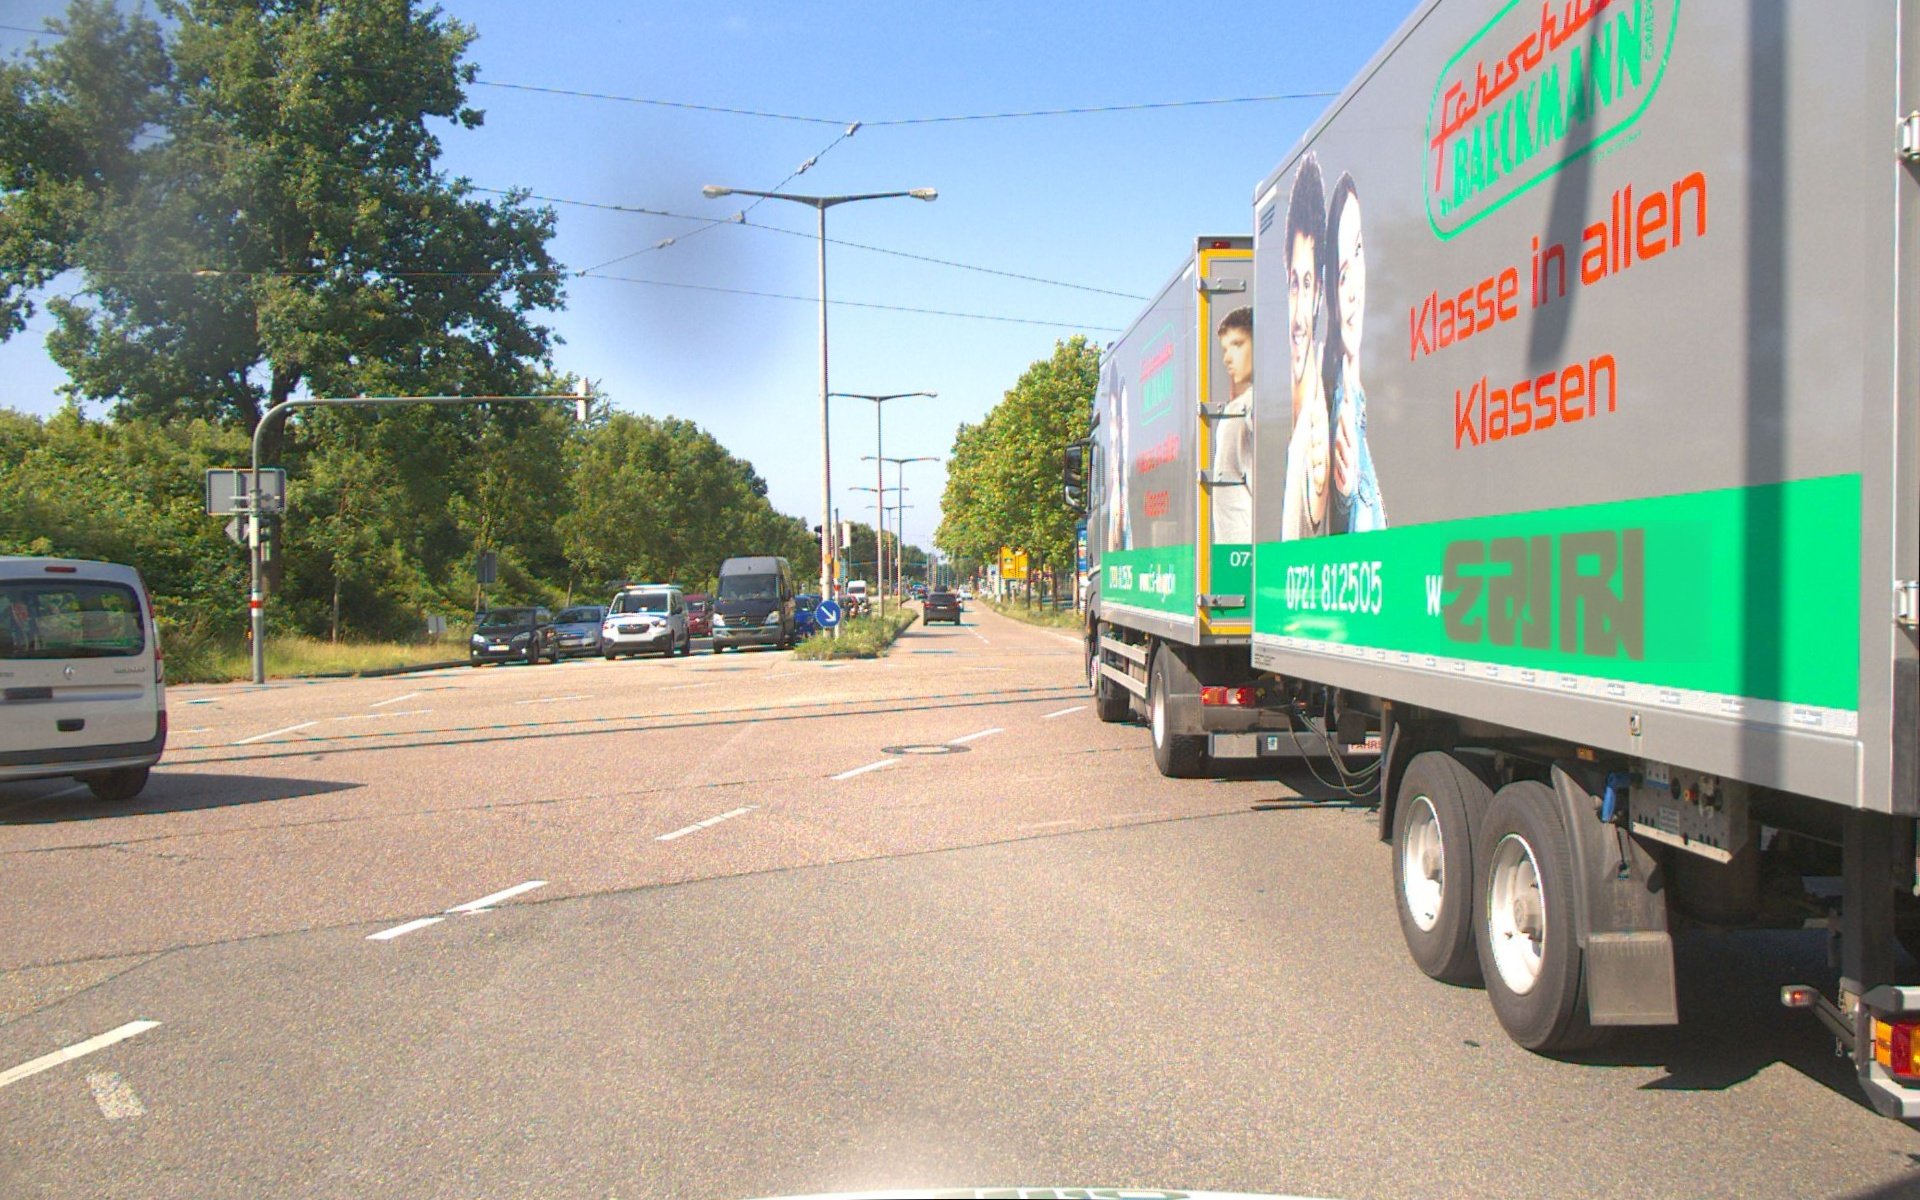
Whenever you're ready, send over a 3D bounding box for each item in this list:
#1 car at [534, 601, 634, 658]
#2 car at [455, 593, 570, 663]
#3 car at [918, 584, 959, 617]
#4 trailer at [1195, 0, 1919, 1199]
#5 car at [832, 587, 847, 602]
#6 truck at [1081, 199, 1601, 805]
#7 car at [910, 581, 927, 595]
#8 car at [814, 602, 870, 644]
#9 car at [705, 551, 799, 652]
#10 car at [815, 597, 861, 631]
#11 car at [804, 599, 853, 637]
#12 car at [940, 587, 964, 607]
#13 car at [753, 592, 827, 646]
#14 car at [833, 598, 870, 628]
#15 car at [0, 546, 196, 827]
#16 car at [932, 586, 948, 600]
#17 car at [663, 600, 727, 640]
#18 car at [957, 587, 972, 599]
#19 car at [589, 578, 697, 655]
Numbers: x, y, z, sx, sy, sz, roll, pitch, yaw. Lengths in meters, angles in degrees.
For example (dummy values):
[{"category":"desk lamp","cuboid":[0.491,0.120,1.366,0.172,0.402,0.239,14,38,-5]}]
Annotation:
[{"category":"car","cuboid":[-11.017,0.843,48.703,1.953,1.567,4.236,-1,0,0]},{"category":"car","cuboid":[-11.302,0.687,42.009,1.872,1.670,3.737,-1,0,0]},{"category":"car","cuboid":[-1.068,0.035,84.088,1.953,1.613,4.456,1,0,0]},{"category":"trailer","cuboid":[2.960,-0.600,6.930,2.681,3.945,7.733,-1,0,-1]},{"category":"car","cuboid":[-16.823,-0.742,231.723,1.850,2.049,3.999,1,0,-1]},{"category":"truck","cuboid":[2.813,-0.631,15.186,2.674,3.957,8.721,0,0,-1]},{"category":"car","cuboid":[-5.260,-1.534,210.768,1.953,1.613,4.456,1,0,0]},{"category":"car","cuboid":[-4.735,0.918,66.892,1.953,1.613,4.000,1,0,0]},{"category":"car","cuboid":[-5.778,0.042,46.540,1.953,2.653,5.133,-1,0,0]},{"category":"car","cuboid":[-6.025,0.701,81.933,1.953,1.613,4.000,1,0,0]},{"category":"car","cuboid":[-6.071,0.813,76.856,1.953,1.668,3.999,1,0,-1]},{"category":"car","cuboid":[-0.624,-0.253,138.380,1.953,1.613,4.456,1,0,0]},{"category":"car","cuboid":[-5.504,0.607,53.961,1.953,1.612,4.000,-2,0,0]},{"category":"car","cuboid":[-6.336,0.761,96.900,1.953,1.668,3.999,1,0,-1]},{"category":"car","cuboid":[-7.788,0.556,12.500,3.915,1.870,1.787,1,0,32]},{"category":"car","cuboid":[-2.588,-0.873,210.862,1.953,1.613,4.456,1,0,0]},{"category":"car","cuboid":[-11.297,0.853,70.791,1.953,1.613,4.456,1,0,0]},{"category":"car","cuboid":[0.644,-0.900,219.324,1.953,1.613,4.456,1,0,0]},{"category":"car","cuboid":[-8.444,0.426,44.409,1.953,1.903,4.773,-1,0,0]}]
